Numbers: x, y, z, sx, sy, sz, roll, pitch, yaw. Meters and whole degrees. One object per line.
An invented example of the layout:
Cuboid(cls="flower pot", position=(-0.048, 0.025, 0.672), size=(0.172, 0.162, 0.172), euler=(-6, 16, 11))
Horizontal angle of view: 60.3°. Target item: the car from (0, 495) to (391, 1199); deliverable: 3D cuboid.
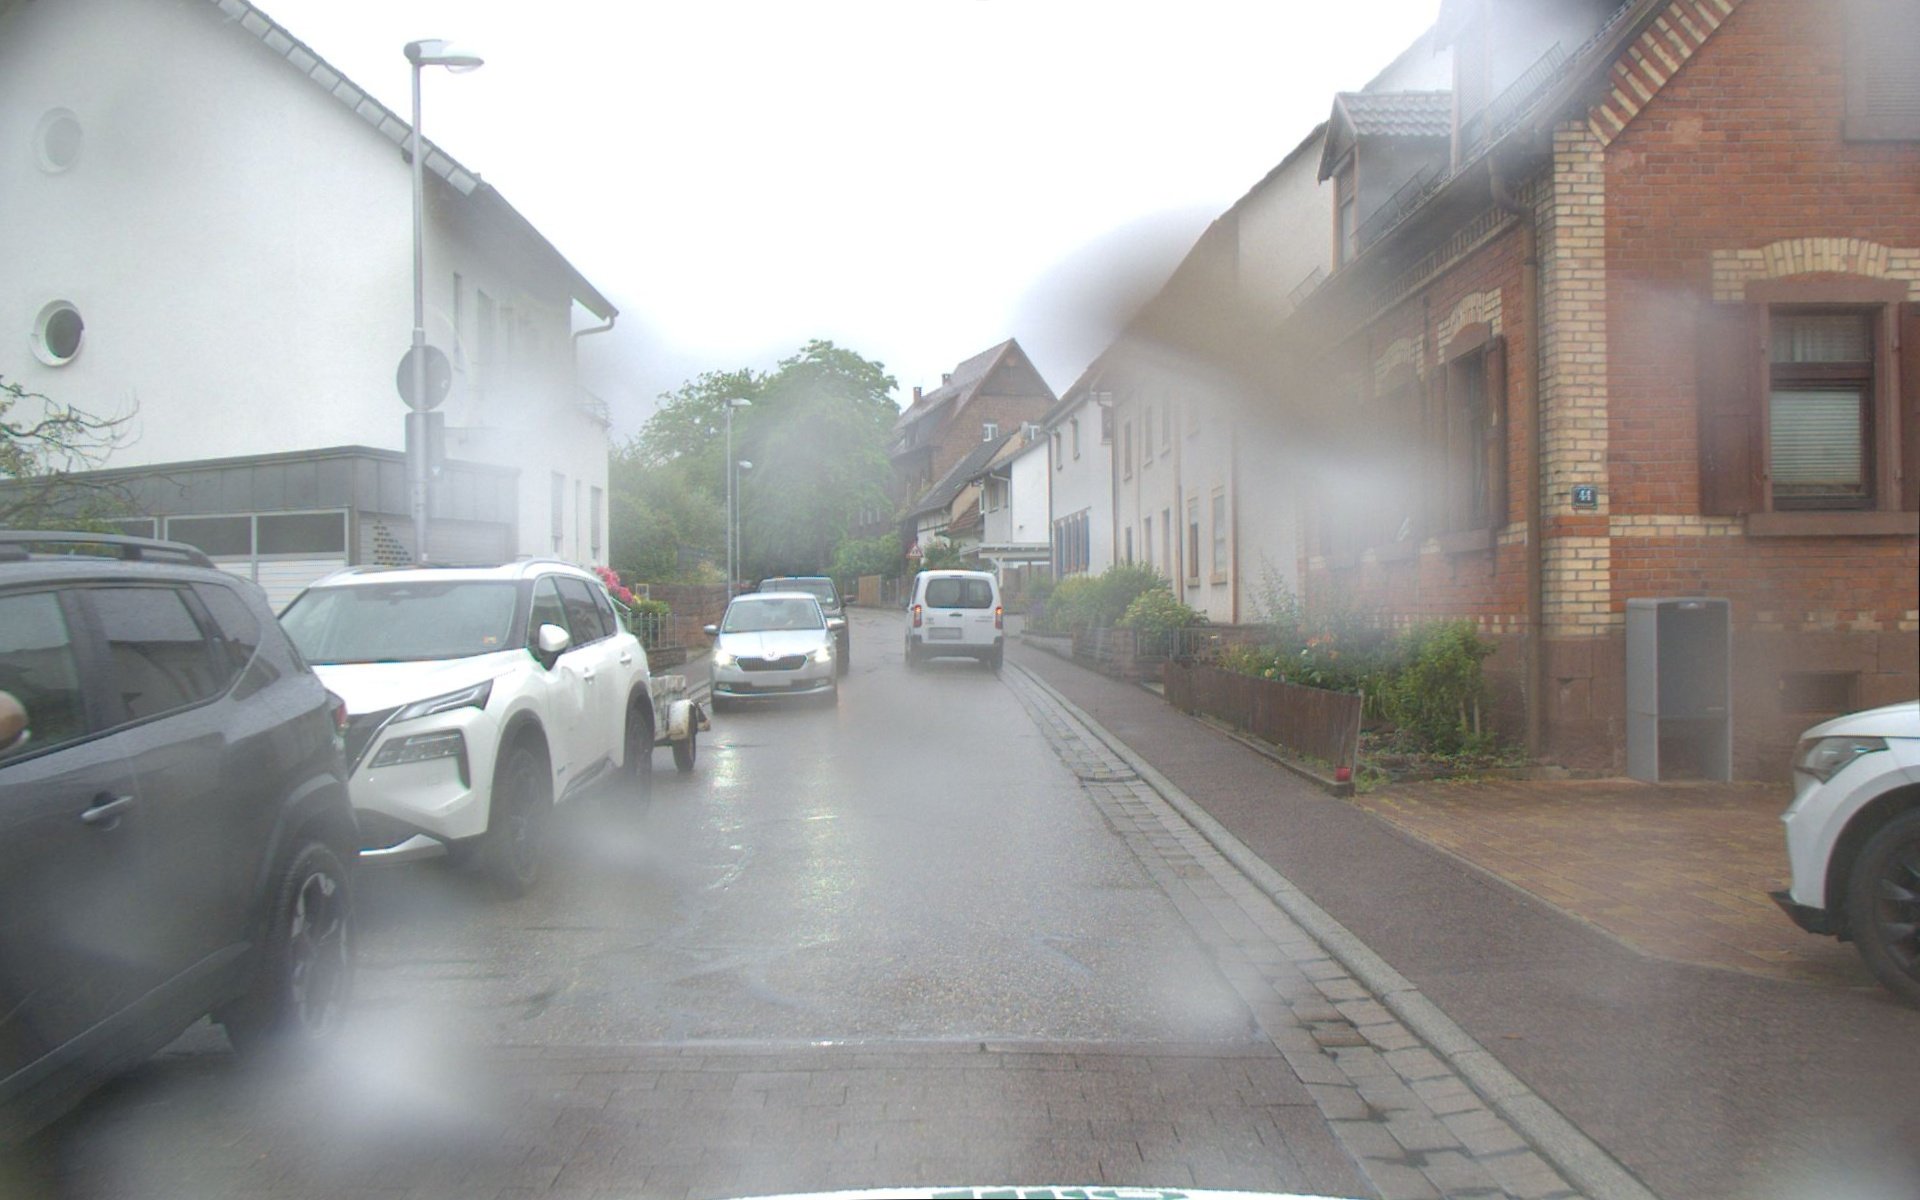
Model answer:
Cuboid(cls="car", position=(-2.829, 0.705, 3.722), size=(1.776, 1.810, 4.016), euler=(-1, 1, -2))

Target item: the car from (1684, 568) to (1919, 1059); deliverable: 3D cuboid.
Cuboid(cls="car", position=(4.752, 0.786, 4.831), size=(1.853, 1.617, 4.568), euler=(0, 3, -33))

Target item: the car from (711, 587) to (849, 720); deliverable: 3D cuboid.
Cuboid(cls="car", position=(-2.399, 0.637, 22.313), size=(1.656, 1.592, 3.929), euler=(-1, 1, -6))

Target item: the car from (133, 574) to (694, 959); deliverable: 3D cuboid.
Cuboid(cls="car", position=(-2.856, 0.765, 9.768), size=(1.712, 1.665, 4.419), euler=(-3, 0, 1))

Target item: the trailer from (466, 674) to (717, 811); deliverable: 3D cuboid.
Cuboid(cls="trailer", position=(-2.902, 1.104, 13.483), size=(1.453, 0.843, 2.675), euler=(-3, -1, -1))

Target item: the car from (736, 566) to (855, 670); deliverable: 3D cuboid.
Cuboid(cls="car", position=(-2.960, 0.267, 30.478), size=(1.954, 1.706, 4.779), euler=(-2, 1, -4))

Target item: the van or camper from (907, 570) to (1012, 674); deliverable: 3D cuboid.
Cuboid(cls="van or camper", position=(-0.028, 0.362, 32.194), size=(1.904, 1.883, 4.000), euler=(0, 1, -1))
